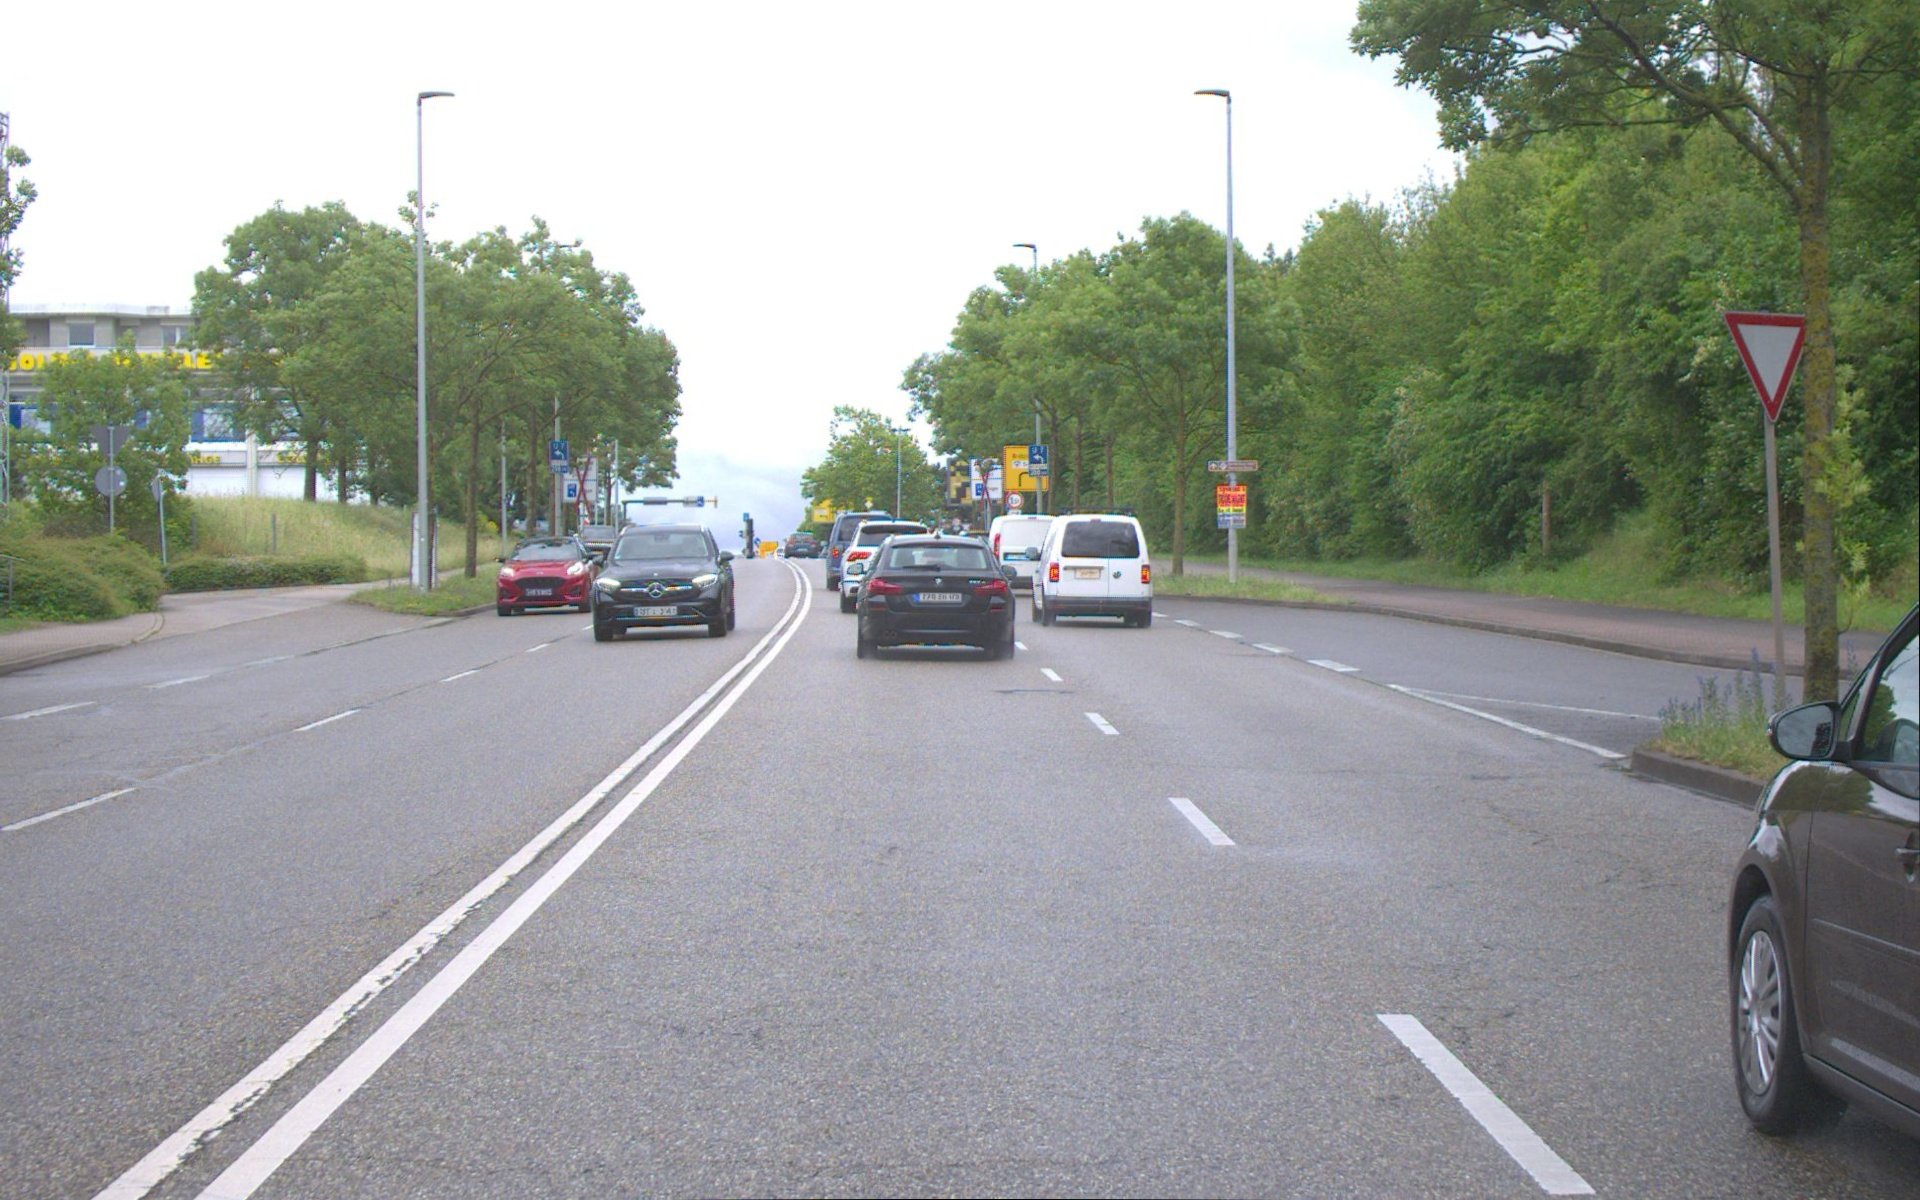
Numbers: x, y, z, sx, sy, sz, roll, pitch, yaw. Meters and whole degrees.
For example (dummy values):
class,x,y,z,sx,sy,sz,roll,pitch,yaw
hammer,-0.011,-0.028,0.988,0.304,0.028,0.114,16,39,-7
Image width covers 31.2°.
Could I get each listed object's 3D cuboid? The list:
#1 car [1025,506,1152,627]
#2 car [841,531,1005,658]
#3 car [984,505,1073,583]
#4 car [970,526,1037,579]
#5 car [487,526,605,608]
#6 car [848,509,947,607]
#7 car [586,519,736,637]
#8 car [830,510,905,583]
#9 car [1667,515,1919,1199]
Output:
class,x,y,z,sx,sy,sz,roll,pitch,yaw
car,2.052,-0.565,55.917,1.741,1.863,3.946,1,1,-2
car,-0.473,-0.098,41.160,1.855,1.414,3.957,1,1,-1
car,1.530,-1.284,78.084,1.814,1.702,3.946,0,1,-2
car,1.157,-1.297,93.229,1.600,1.367,3.681,-1,1,-2
car,-8.120,-0.669,67.711,1.676,1.501,4.216,-2,1,1
car,-1.120,-0.774,62.212,1.728,1.705,3.383,1,1,-1
car,-4.322,-0.363,50.259,1.858,1.572,4.321,-2,2,-1
car,-2.235,-1.291,82.608,1.758,1.702,3.946,0,1,-2
car,2.832,0.625,7.236,1.714,1.591,4.131,1,1,-2
